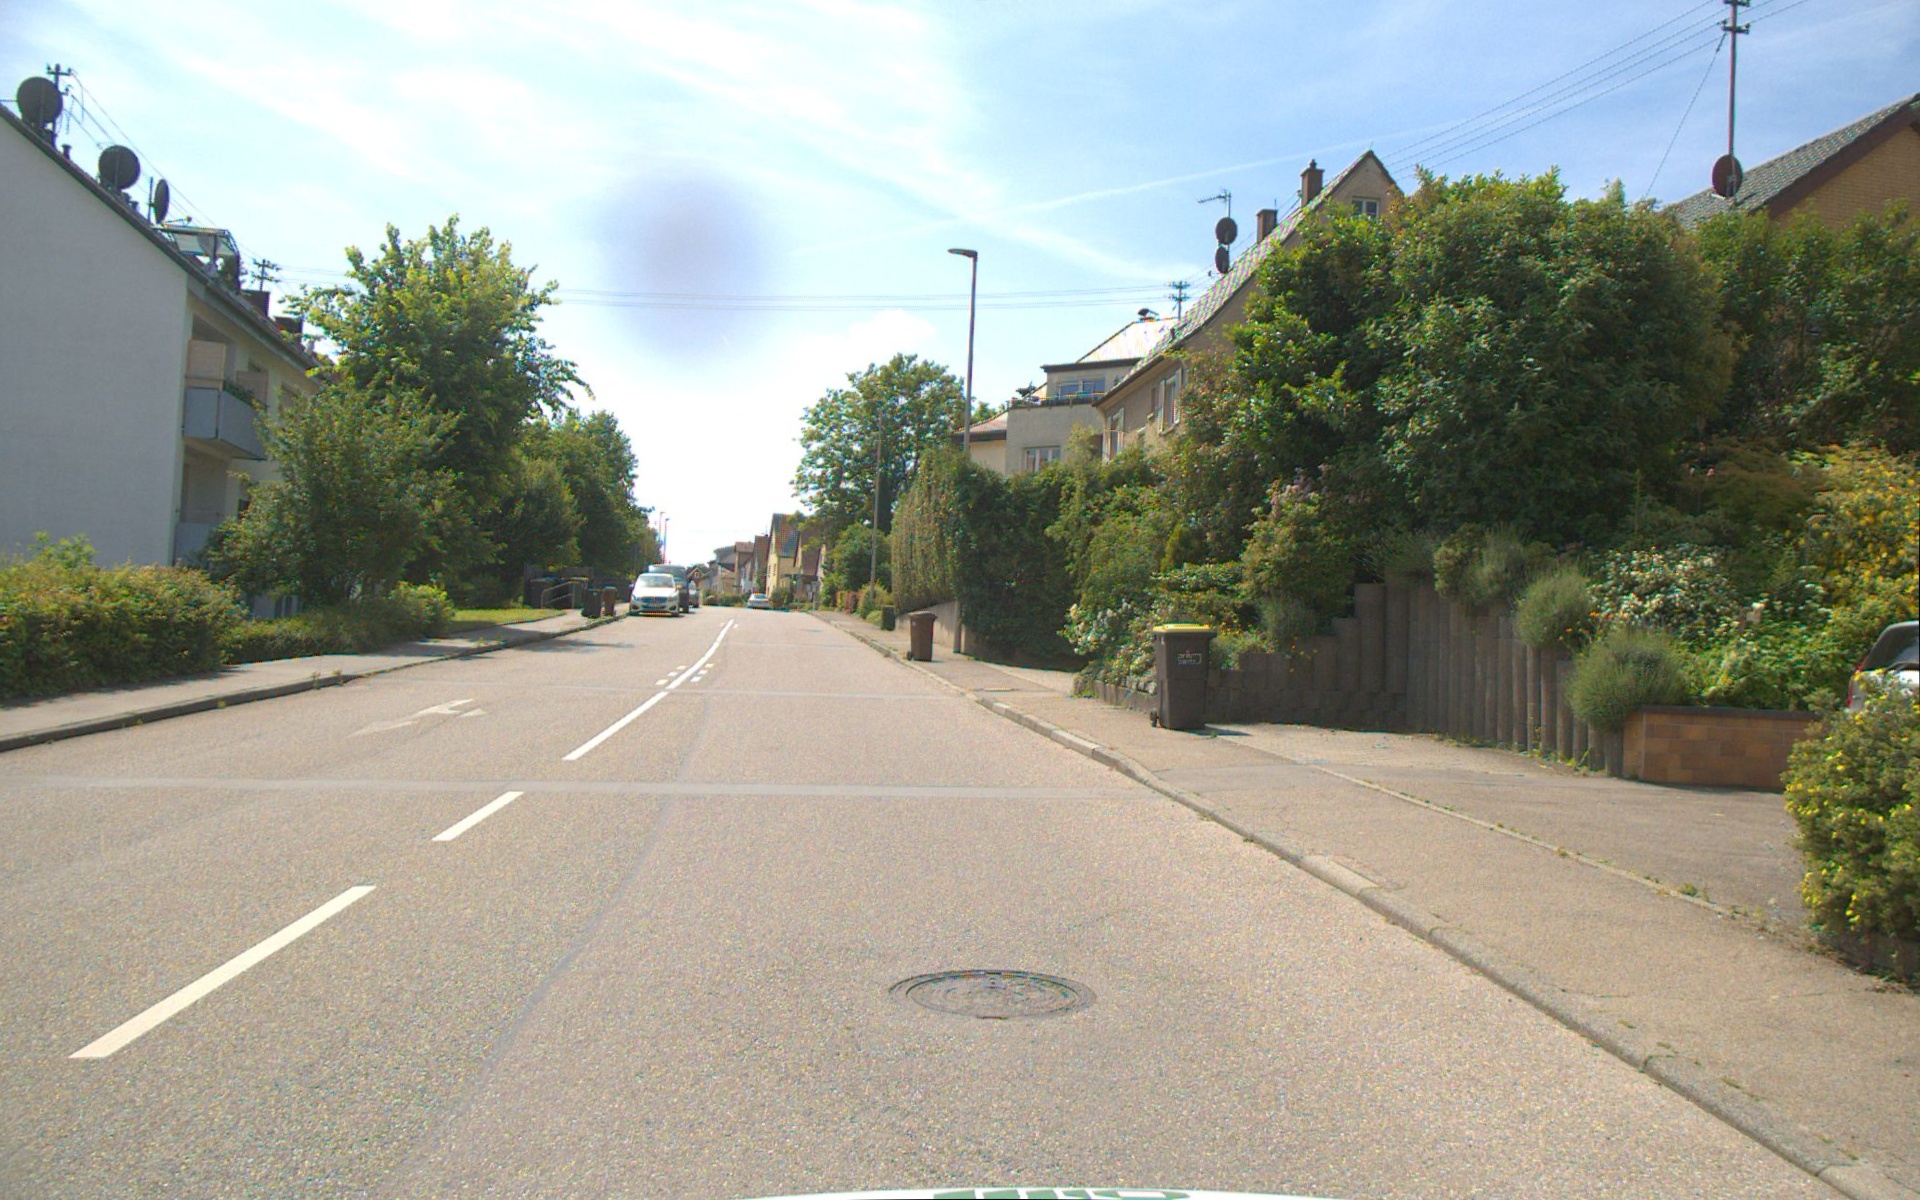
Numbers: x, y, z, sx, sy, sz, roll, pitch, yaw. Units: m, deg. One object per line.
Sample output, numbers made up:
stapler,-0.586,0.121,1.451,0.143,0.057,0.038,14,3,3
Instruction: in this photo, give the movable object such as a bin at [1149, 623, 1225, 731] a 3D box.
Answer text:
movable object such as a bin,2.375,0.793,17.372,0.577,1.077,0.918,1,0,-5

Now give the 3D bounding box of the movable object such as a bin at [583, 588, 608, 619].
movable object such as a bin,-11.508,0.110,52.205,0.607,0.933,0.686,2,0,-1

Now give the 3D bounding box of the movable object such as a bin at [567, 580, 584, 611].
movable object such as a bin,-13.974,-0.164,60.109,0.507,1.123,0.528,1,0,-9

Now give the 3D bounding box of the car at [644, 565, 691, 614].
car,-12.377,-0.470,69.989,1.862,1.953,4.859,1,1,-10

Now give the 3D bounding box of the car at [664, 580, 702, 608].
car,-14.523,-0.307,86.839,1.746,1.419,4.402,1,0,-7

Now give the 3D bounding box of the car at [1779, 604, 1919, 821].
car,8.529,0.912,12.723,3.577,1.525,1.833,3,0,-10

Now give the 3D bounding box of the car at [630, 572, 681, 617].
car,-11.503,-0.244,62.639,1.778,1.576,4.234,2,0,-10

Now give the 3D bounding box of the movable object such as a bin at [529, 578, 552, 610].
movable object such as a bin,-14.883,-0.217,58.672,0.590,1.115,0.650,2,0,-1

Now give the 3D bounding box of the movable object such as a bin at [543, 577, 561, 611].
movable object such as a bin,-14.865,-0.220,60.281,0.467,1.198,0.839,2,0,-2

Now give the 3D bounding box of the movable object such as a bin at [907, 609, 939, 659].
movable object such as a bin,-0.768,0.698,33.868,0.577,0.995,0.785,0,0,-8

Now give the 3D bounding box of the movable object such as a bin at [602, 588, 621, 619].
movable object such as a bin,-11.557,0.101,54.896,0.496,1.005,0.563,2,0,-1

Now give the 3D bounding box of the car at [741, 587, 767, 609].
car,-16.707,-0.157,133.956,1.957,1.631,3.992,2,0,-9

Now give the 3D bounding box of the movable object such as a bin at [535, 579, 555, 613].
movable object such as a bin,-14.923,-0.151,59.427,0.536,1.198,0.674,2,0,-2
